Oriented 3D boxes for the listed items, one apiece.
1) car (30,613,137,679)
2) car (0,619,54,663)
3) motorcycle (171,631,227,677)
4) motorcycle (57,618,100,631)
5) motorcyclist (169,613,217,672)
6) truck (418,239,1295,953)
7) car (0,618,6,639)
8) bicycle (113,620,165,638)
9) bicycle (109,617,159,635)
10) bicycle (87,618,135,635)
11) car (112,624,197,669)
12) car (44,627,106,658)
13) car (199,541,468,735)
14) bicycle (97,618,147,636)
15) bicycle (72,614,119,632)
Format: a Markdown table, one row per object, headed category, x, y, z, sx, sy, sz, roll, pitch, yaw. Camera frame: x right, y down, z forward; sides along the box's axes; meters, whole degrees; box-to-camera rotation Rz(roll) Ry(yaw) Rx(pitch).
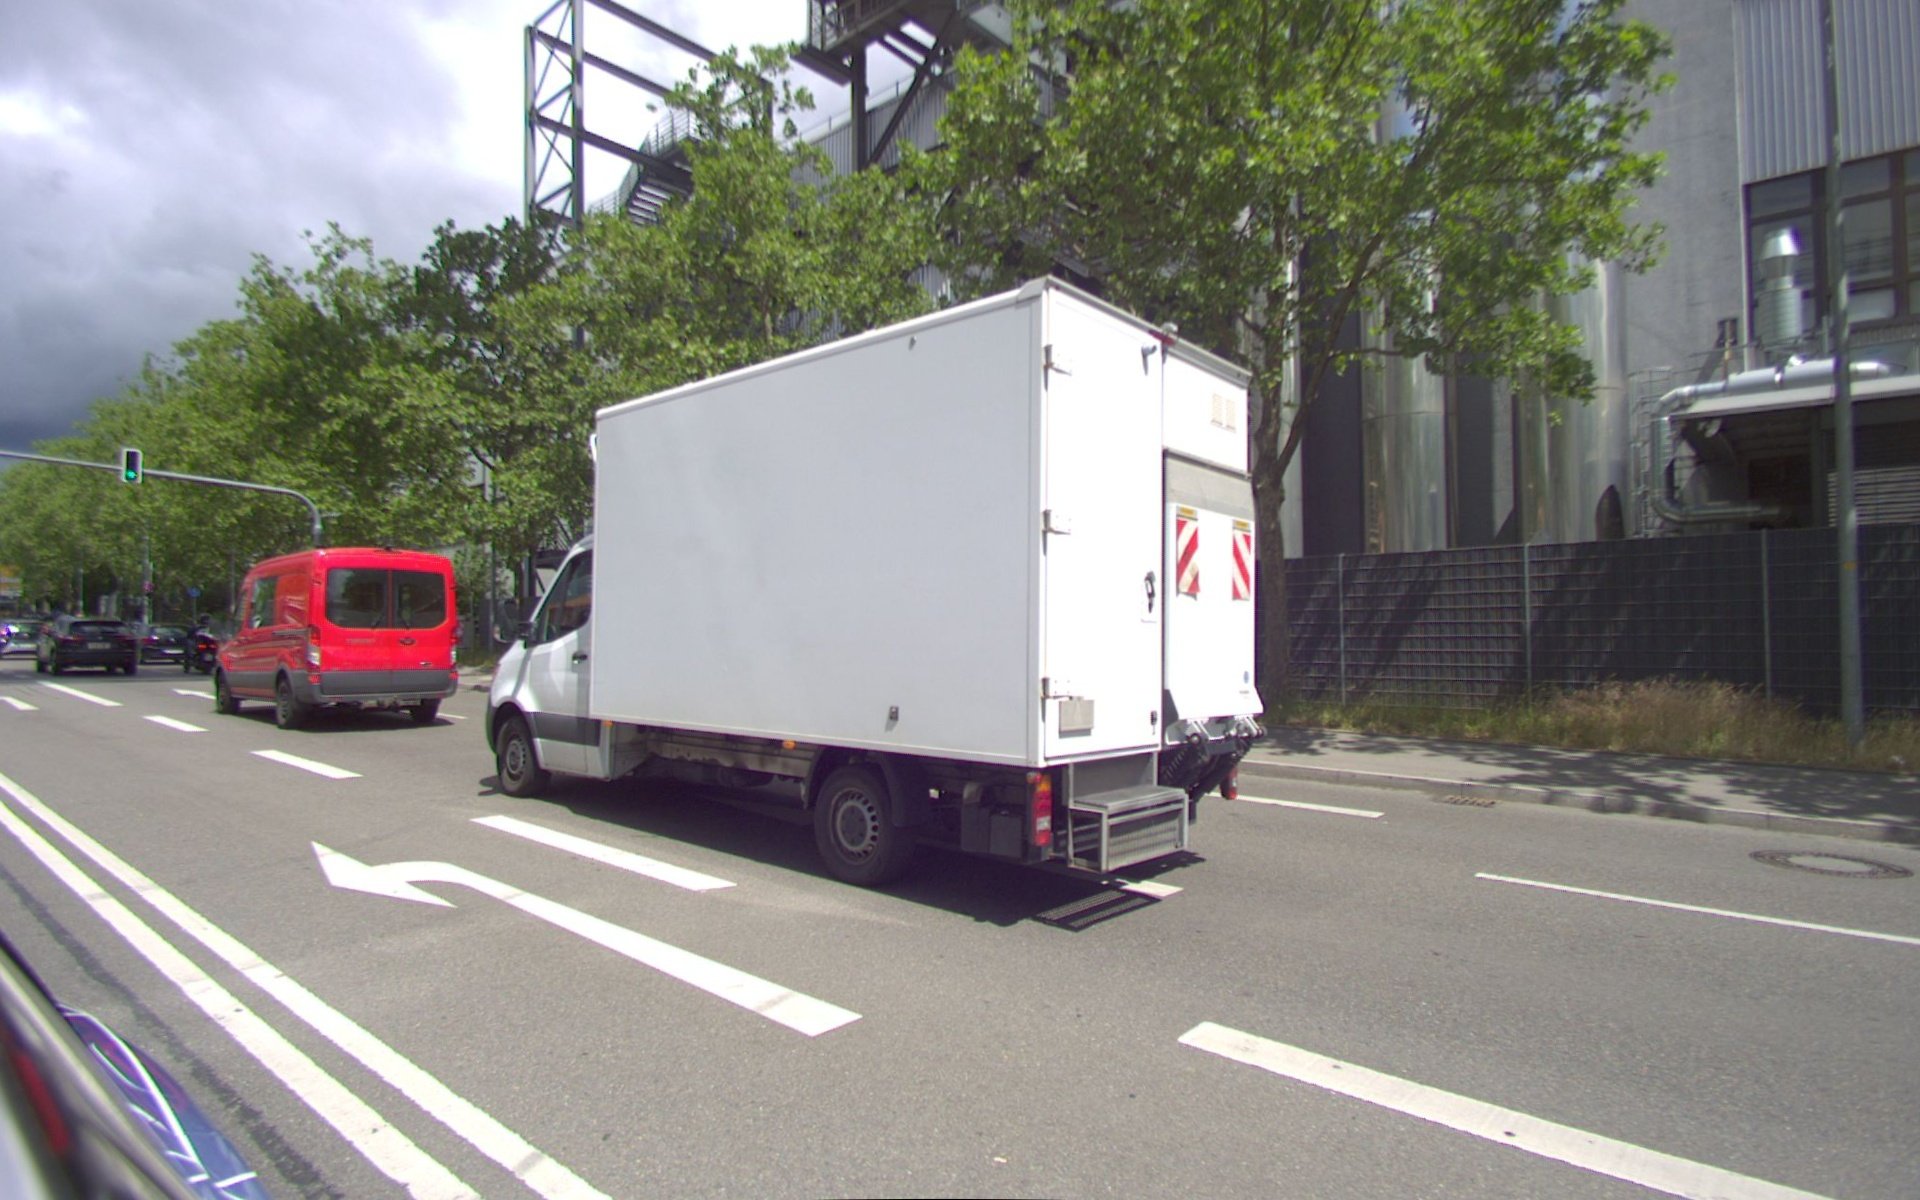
| category | x | y | z | sx | sy | sz | roll | pitch | yaw |
| --- | --- | --- | --- | --- | --- | --- | --- | --- | --- |
| car | -24.369 | 1.247 | 28.096 | 4.213 | 1.697 | 1.717 | -1 | -3 | 42 |
| car | -34.695 | 1.492 | 37.283 | 3.612 | 1.516 | 1.541 | -1 | -3 | 42 |
| motorcycle | -21.717 | 1.515 | 28.856 | 2.373 | 1.229 | 0.668 | -1 | 0 | 38 |
| motorcycle | -76.804 | 2.125 | 88.158 | 0.600 | 1.044 | 2.792 | -5 | -3 | 44 |
| motorcyclist | -21.820 | 1.195 | 28.781 | 1.091 | 1.635 | 0.728 | -1 | 0 | 30 |
| truck | -1.416 | 0.066 | 7.785 | 7.240 | 3.153 | 2.426 | -1 | -3 | 42 |
| car | -69.980 | 1.974 | 72.376 | 4.765 | 1.465 | 1.973 | -1 | -3 | 40 |
| bicycle | -52.830 | 1.845 | 65.128 | 2.526 | 1.093 | 0.616 | -1 | 0 | -44 |
| bicycle | -54.372 | 1.719 | 66.651 | 2.525 | 1.093 | 0.616 | -1 | 0 | -42 |
| bicycle | -59.534 | 1.832 | 70.969 | 2.525 | 1.093 | 0.616 | -1 | 0 | -43 |
| car | -27.943 | 1.583 | 35.052 | 3.917 | 1.439 | 1.560 | -1 | -3 | 41 |
| car | -42.234 | 2.014 | 48.278 | 3.819 | 1.440 | 1.675 | -2 | -2 | 40 |
| car | -9.915 | 0.580 | 15.798 | 5.478 | 2.526 | 2.041 | -1 | -3 | 42 |
| bicycle | -56.140 | 1.796 | 67.810 | 0.614 | 1.093 | 2.536 | -1 | 0 | 32 |
| bicycle | -62.610 | 1.658 | 73.287 | 0.615 | 1.187 | 2.529 | -1 | 0 | 41 |
